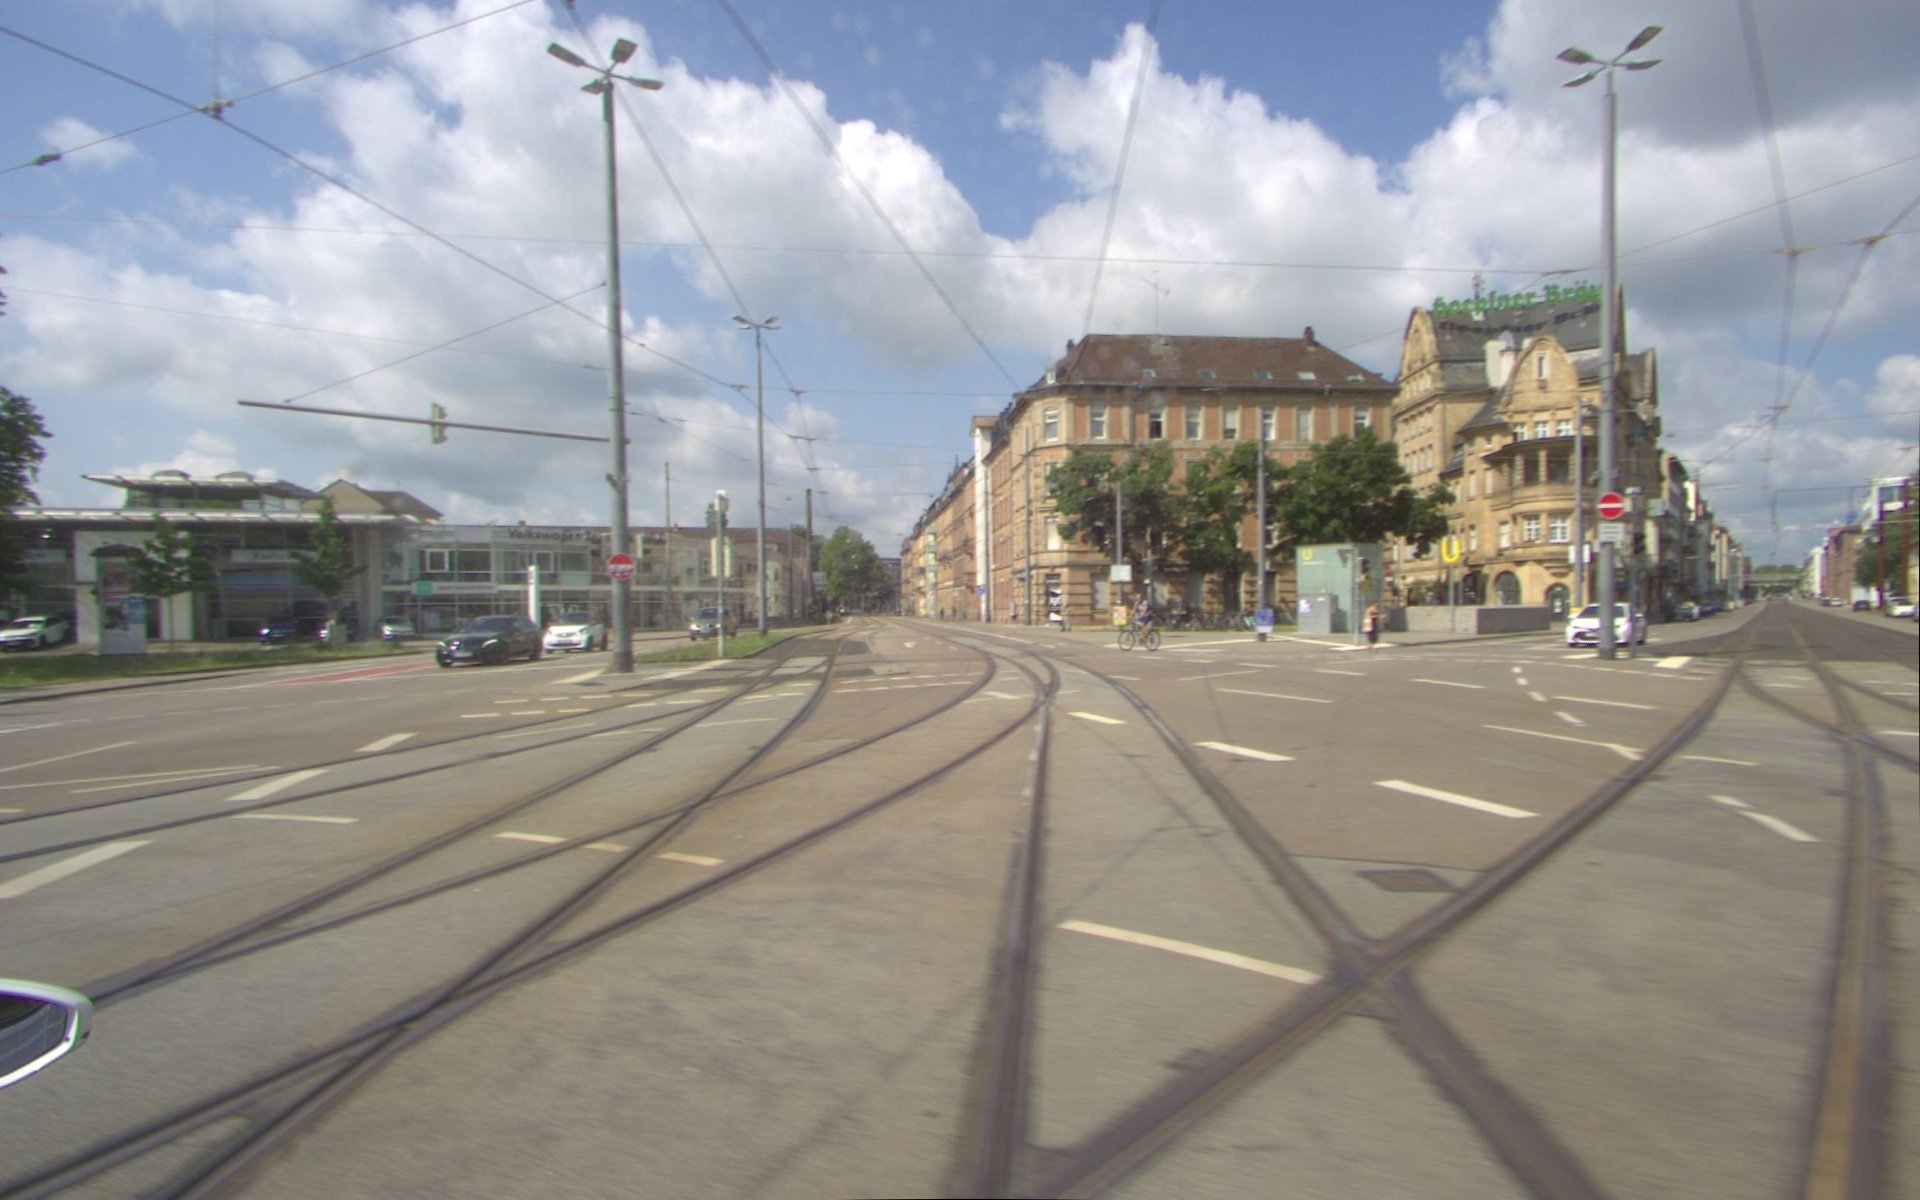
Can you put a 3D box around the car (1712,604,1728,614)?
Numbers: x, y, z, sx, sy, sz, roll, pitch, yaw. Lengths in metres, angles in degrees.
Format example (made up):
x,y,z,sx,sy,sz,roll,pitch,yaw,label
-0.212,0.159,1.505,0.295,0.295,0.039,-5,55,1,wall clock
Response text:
x,y,z,sx,sy,sz,roll,pitch,yaw,label
110.281,1.316,145.368,1.846,1.402,3.974,0,-2,37,car

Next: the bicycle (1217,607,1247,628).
x,y,z,sx,sy,sz,roll,pitch,yaw,label
15.200,0.973,56.089,0.746,1.181,2.684,0,0,-4,bicycle

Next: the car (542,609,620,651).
x,y,z,sx,sy,sz,roll,pitch,yaw,label
-14.571,1.161,38.719,1.658,1.488,3.658,1,-2,-1,car

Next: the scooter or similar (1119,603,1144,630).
x,y,z,sx,sy,sz,roll,pitch,yaw,label
9.594,0.919,56.234,0.863,1.502,2.013,0,0,-6,scooter or similar

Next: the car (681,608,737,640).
x,y,z,sx,sy,sz,roll,pitch,yaw,label
-12.781,1.195,51.204,1.961,1.595,3.736,0,0,-1,car

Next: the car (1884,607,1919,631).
x,y,z,sx,sy,sz,roll,pitch,yaw,label
83.687,1.729,88.876,1.974,2.039,3.976,0,-2,36,car

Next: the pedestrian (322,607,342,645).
x,y,z,sx,sy,sz,roll,pitch,yaw,label
-34.522,1.435,55.055,0.797,2.039,0.805,1,-1,-26,pedestrian

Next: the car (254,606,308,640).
x,y,z,sx,sy,sz,roll,pitch,yaw,label
-39.545,1.334,58.392,1.969,1.862,3.985,-1,0,-26,car

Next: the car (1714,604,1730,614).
x,y,z,sx,sy,sz,roll,pitch,yaw,label
115.017,1.340,151.098,1.846,1.402,3.974,0,-2,37,car

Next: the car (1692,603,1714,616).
x,y,z,sx,sy,sz,roll,pitch,yaw,label
78.015,1.000,105.176,1.846,1.402,3.972,-1,0,37,car

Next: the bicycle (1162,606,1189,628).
x,y,z,sx,sy,sz,roll,pitch,yaw,label
11.984,0.947,55.750,0.746,1.181,2.684,0,0,-4,bicycle

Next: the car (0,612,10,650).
x,y,z,sx,sy,sz,roll,pitch,yaw,label
-52.951,1.634,53.669,1.972,2.039,3.980,3,-2,-30,car

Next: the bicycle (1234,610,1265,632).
x,y,z,sx,sy,sz,roll,pitch,yaw,label
16.191,1.142,56.034,0.746,1.181,2.684,0,0,-4,bicycle

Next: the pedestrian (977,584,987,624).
x,y,z,sx,sy,sz,roll,pitch,yaw,label
1.769,0.317,79.518,0.713,3.115,0.888,1,-1,3,pedestrian

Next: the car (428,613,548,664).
x,y,z,sx,sy,sz,roll,pitch,yaw,label
-13.944,1.095,29.810,1.834,1.394,3.940,0,0,-3,car

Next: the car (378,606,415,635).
x,y,z,sx,sy,sz,roll,pitch,yaw,label
-34.753,1.248,61.718,1.907,1.705,3.979,2,-2,-30,car

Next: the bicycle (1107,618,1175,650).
x,y,z,sx,sy,sz,roll,pitch,yaw,label
6.266,1.181,34.761,2.157,1.084,0.877,1,-1,-11,bicycle

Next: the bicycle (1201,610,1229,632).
x,y,z,sx,sy,sz,roll,pitch,yaw,label
14.243,1.161,55.952,0.746,1.181,2.684,0,0,-4,bicycle

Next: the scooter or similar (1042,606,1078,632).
x,y,z,sx,sy,sz,roll,pitch,yaw,label
5.548,1.057,55.624,1.159,1.403,2.802,1,-2,-12,scooter or similar

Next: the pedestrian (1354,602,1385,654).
x,y,z,sx,sy,sz,roll,pitch,yaw,label
12.442,0.847,30.438,0.728,1.536,0.544,0,0,2,pedestrian

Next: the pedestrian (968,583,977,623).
x,y,z,sx,sy,sz,roll,pitch,yaw,label
1.004,0.260,79.592,0.655,3.160,0.888,1,-1,3,pedestrian

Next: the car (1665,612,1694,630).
x,y,z,sx,sy,sz,roll,pitch,yaw,label
58.543,1.694,81.443,1.846,1.402,3.974,0,-2,37,car

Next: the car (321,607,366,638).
x,y,z,sx,sy,sz,roll,pitch,yaw,label
-37.111,1.364,60.367,1.970,1.747,3.983,2,-2,-27,car

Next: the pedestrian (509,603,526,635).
x,y,z,sx,sy,sz,roll,pitch,yaw,label
-27.727,1.184,62.767,0.859,2.040,0.700,-1,1,-30,pedestrian

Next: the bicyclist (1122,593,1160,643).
x,y,z,sx,sy,sz,roll,pitch,yaw,label
6.284,0.637,34.739,1.127,1.696,0.615,1,-1,-10,bicyclist

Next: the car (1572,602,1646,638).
x,y,z,sx,sy,sz,roll,pitch,yaw,label
30.515,0.970,47.044,3.956,1.616,1.823,2,-2,-40,car

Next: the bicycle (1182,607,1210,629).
x,y,z,sx,sy,sz,roll,pitch,yaw,label
13.132,0.991,55.836,0.746,1.181,2.684,2,0,-4,bicycle

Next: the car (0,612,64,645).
x,y,z,sx,sy,sz,roll,pitch,yaw,label
-50.844,1.536,54.859,1.765,1.704,3.979,0,0,-30,car

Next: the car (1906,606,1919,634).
x,y,z,sx,sy,sz,roll,pitch,yaw,label
72.054,1.504,74.404,1.974,2.039,3.976,0,-2,36,car

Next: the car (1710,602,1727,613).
x,y,z,sx,sy,sz,roll,pitch,yaw,label
106.095,1.101,140.129,1.846,1.402,3.974,0,-2,37,car

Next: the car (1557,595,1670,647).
x,y,z,sx,sy,sz,roll,pitch,yaw,label
21.682,0.734,33.149,4.457,1.616,1.941,2,-2,-40,car
